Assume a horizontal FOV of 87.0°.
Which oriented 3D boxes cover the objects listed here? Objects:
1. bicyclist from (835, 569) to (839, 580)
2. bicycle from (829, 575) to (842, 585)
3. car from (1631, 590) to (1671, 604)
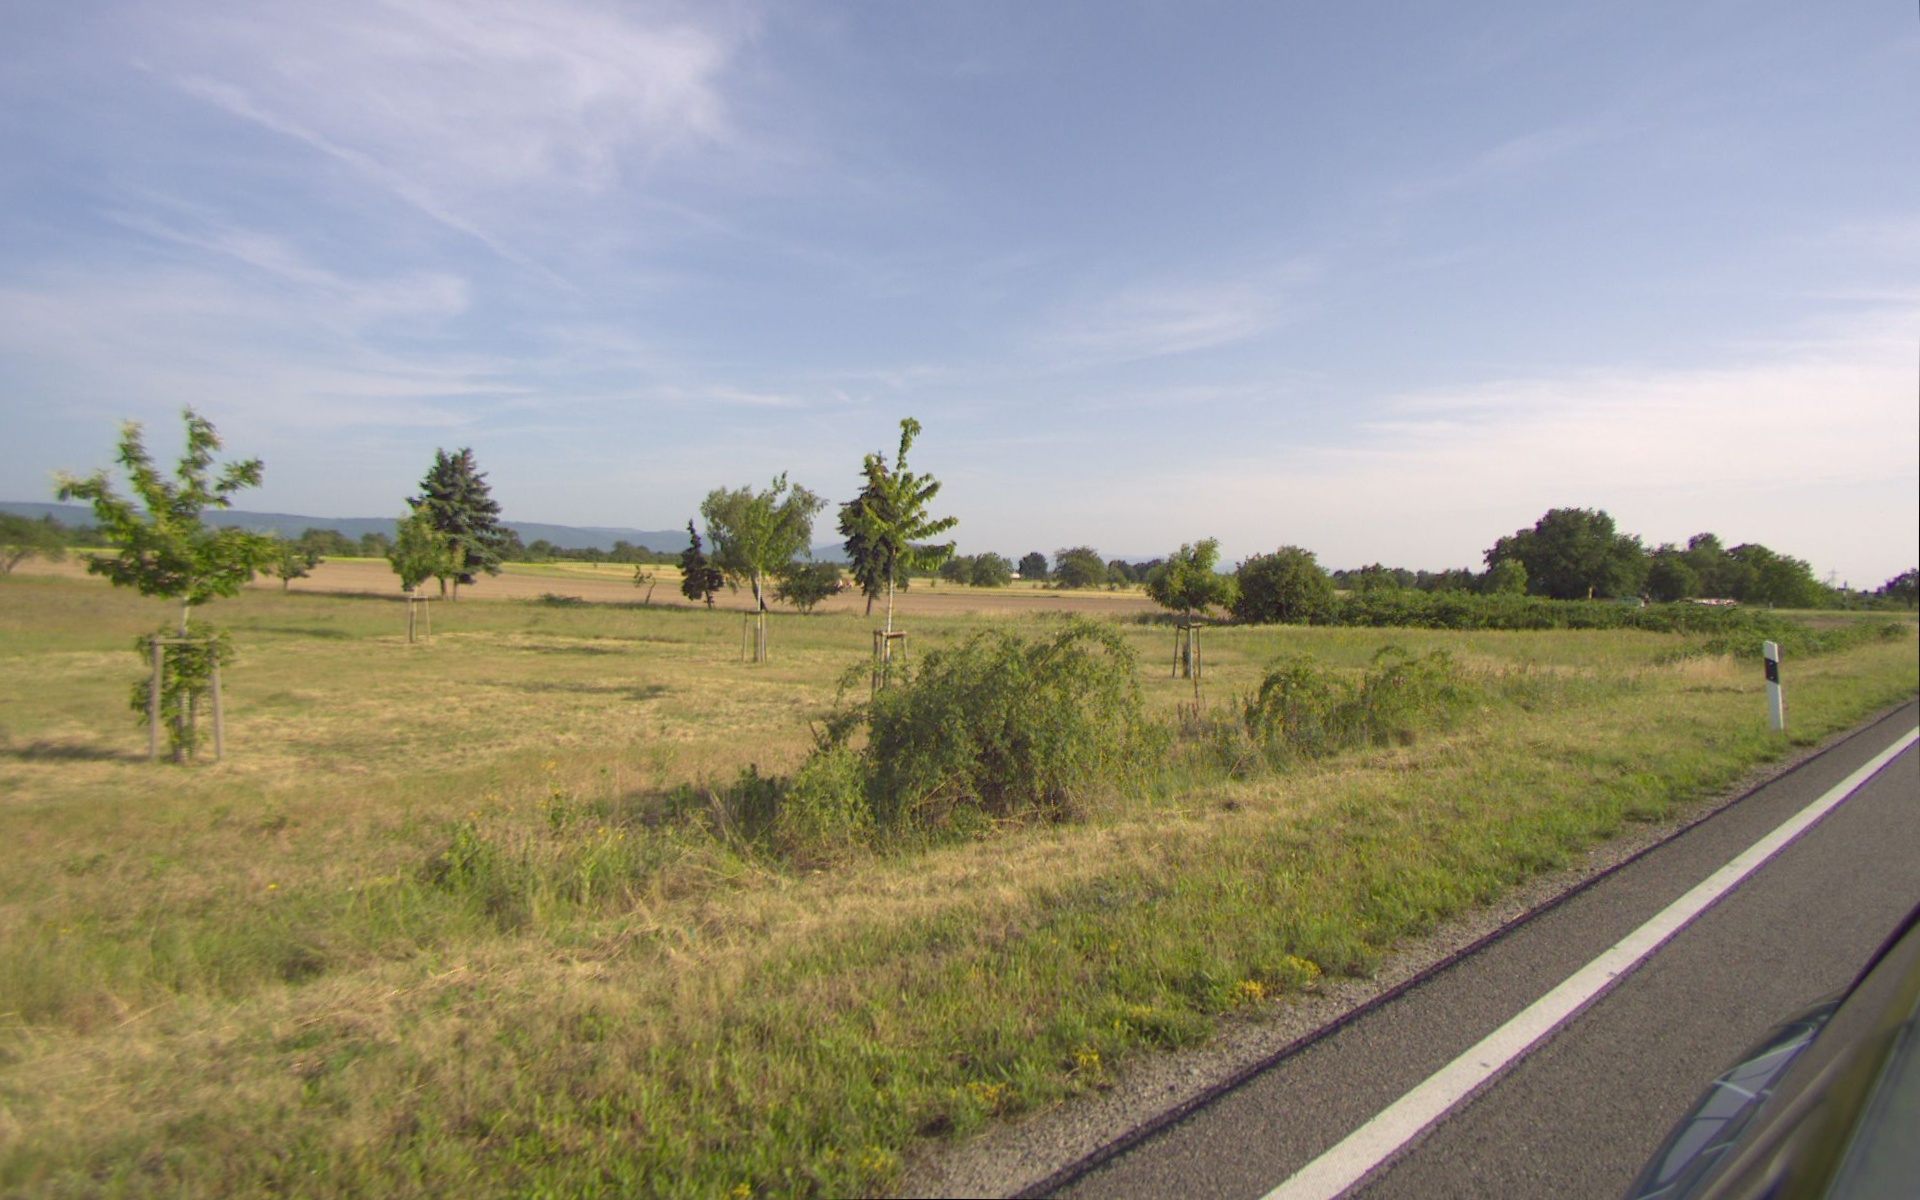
[{"bbox_3d":[-18.411,-3.833,151.242,0.540,1.617,0.487,0,0,2],"label":"bicyclist"},{"bbox_3d":[-18.635,-3.013,151.250,1.940,1.550,0.503,0,0,2],"label":"bicycle"},{"bbox_3d":[84.544,-0.323,123.906,3.973,1.672,1.975,0,0,34],"label":"car"}]
